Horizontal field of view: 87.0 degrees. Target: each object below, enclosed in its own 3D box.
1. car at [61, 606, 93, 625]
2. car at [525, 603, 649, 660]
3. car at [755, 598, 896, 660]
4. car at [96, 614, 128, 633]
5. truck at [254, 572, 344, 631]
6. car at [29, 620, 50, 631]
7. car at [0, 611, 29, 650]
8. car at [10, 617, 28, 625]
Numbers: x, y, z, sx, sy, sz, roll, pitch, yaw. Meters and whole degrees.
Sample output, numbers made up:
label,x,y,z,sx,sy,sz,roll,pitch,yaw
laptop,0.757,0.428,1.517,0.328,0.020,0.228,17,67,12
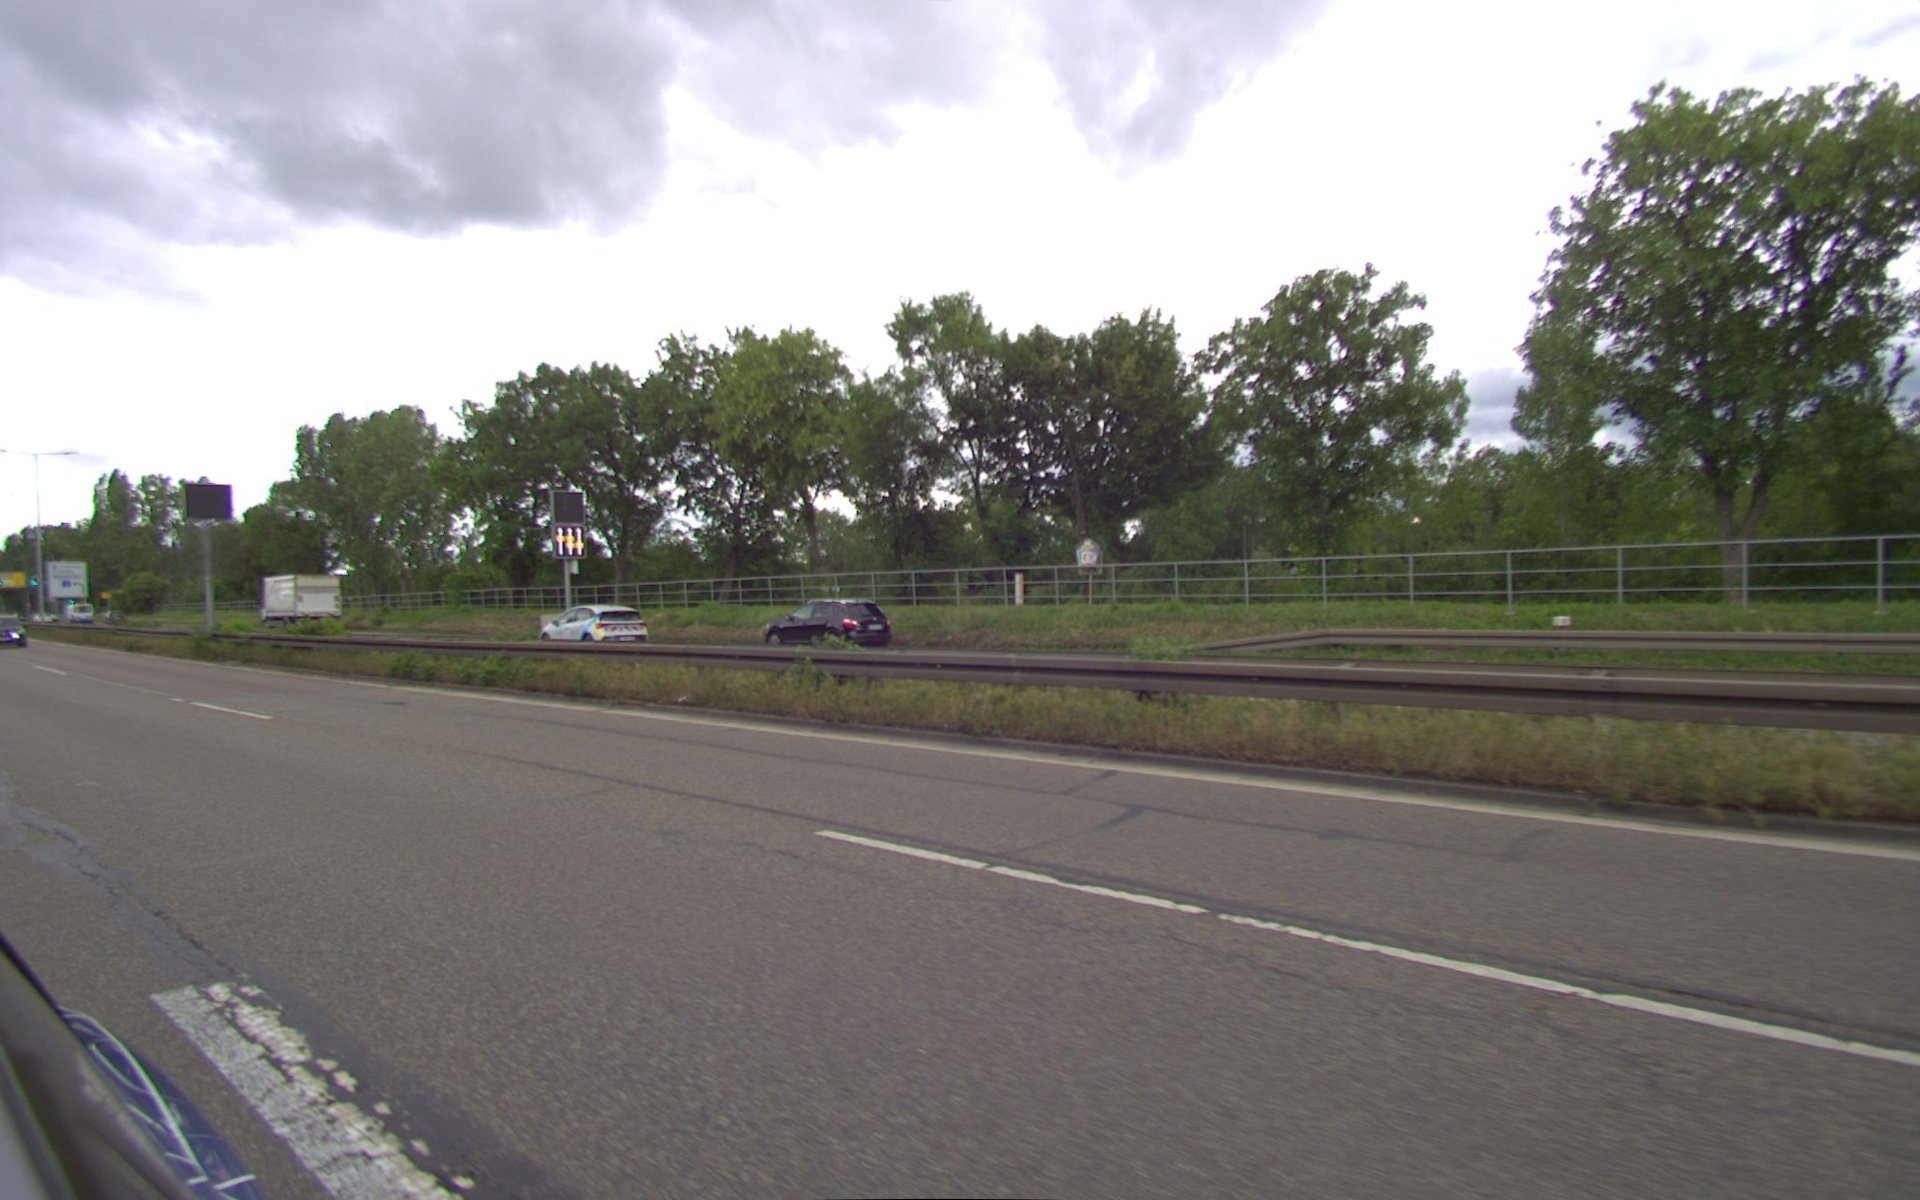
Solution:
label,x,y,z,sx,sy,sz,roll,pitch,yaw
car,-98.020,1.759,112.284,5.475,1.962,2.201,-1,1,44
car,-11.509,0.953,31.076,4.536,1.617,1.680,-1,-1,42
car,-3.827,0.792,28.436,4.041,1.617,1.708,-1,-1,42
car,-81.156,2.257,96.818,4.147,1.737,1.858,-2,1,44
truck,-43.713,0.134,66.767,9.589,3.605,2.857,-1,1,44
car,-118.421,3.306,130.208,3.987,1.409,1.642,-2,-1,42
car,-45.233,1.444,47.389,4.143,1.737,1.860,-2,1,41
car,-160.979,3.600,173.108,4.785,1.309,1.643,-2,1,41
